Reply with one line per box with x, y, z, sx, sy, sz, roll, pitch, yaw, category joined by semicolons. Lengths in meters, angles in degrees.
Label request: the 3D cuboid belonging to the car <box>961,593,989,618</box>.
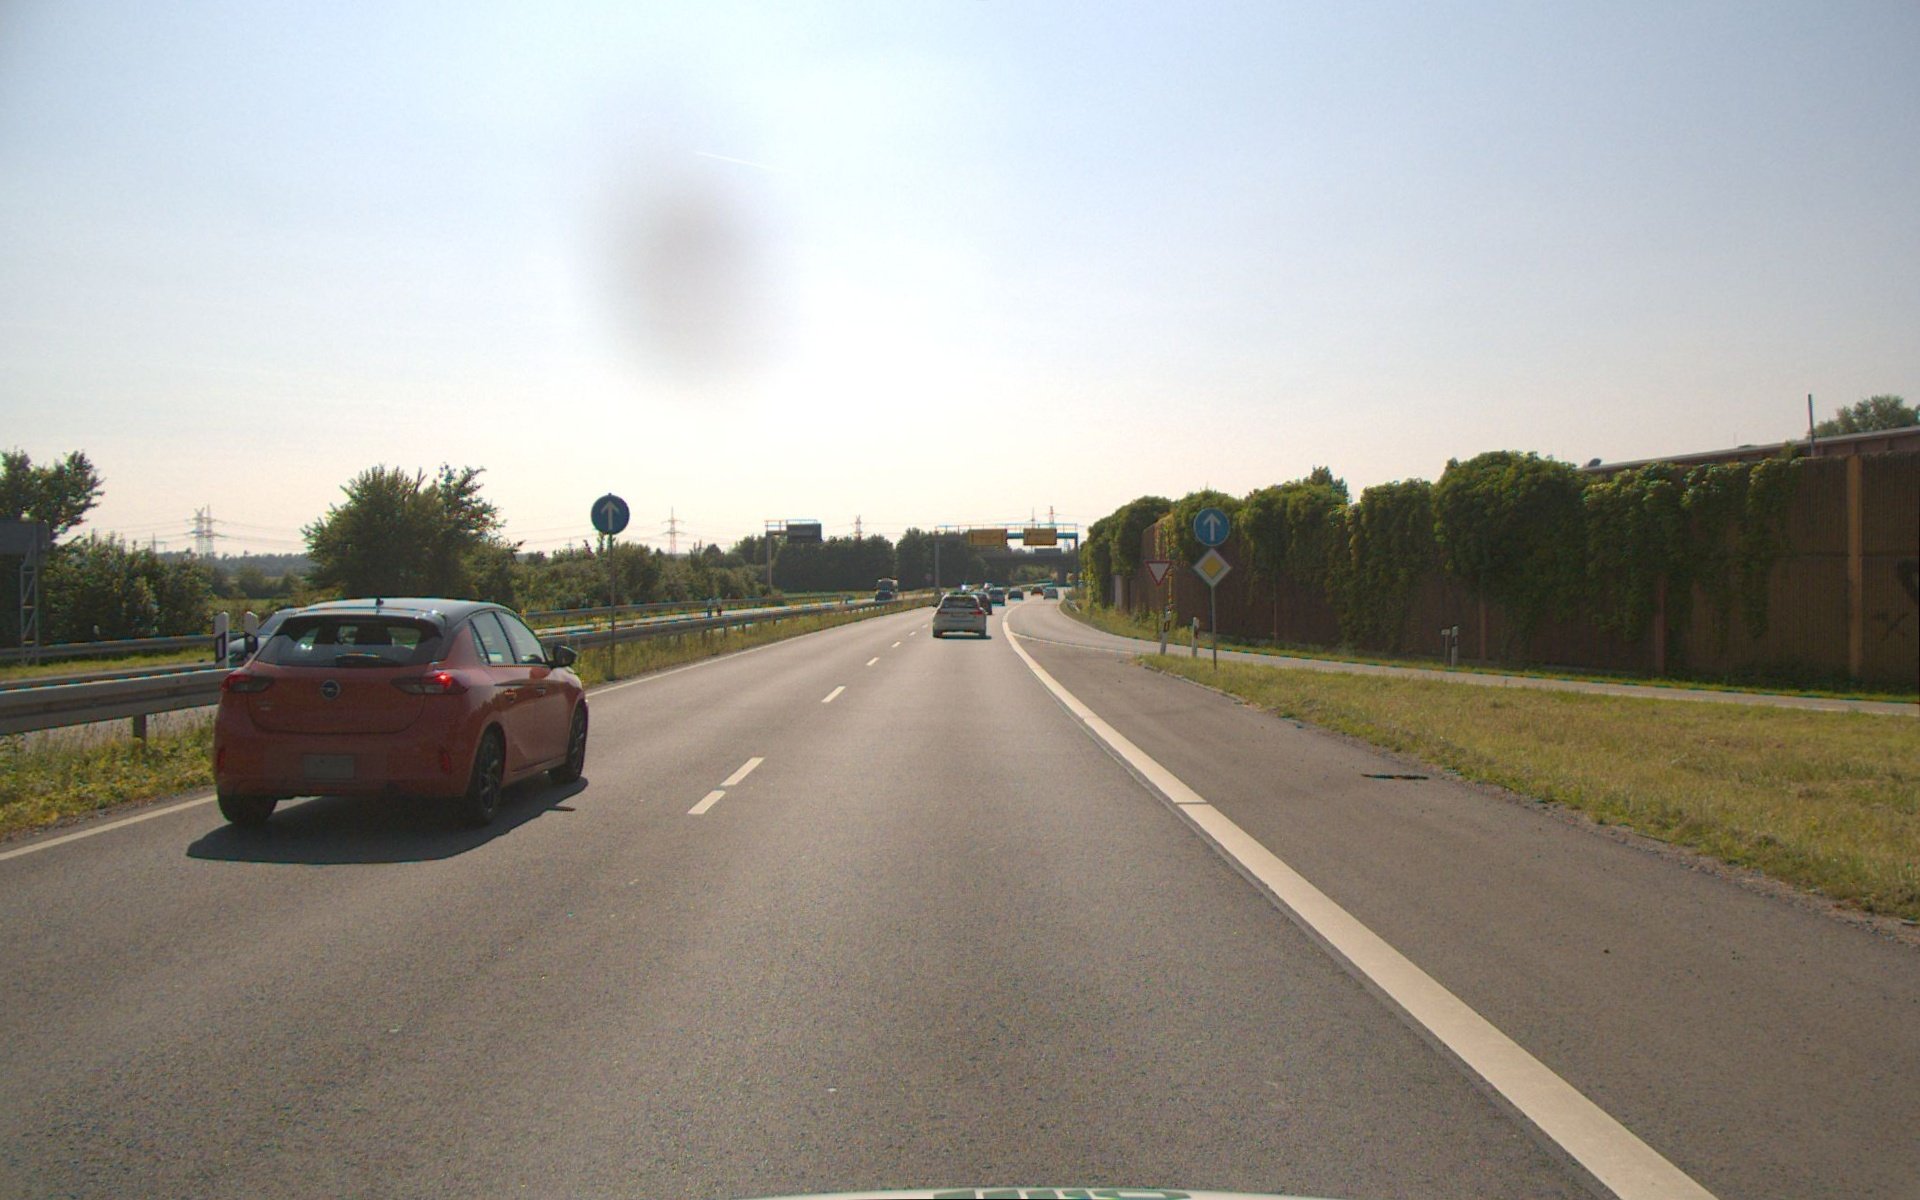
0.974;0.360;106.984;1.756;1.570;3.672;0;0;1;car

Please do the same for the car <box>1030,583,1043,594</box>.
11.646;-1.765;250.813;1.802;1.728;4.002;0;0;4;car

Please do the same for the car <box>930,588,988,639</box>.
-0.043;0.452;57.723;1.918;1.629;4.107;1;1;0;car

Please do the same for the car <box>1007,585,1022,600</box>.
6.646;-0.907;202.990;1.803;1.834;4.001;0;0;2;car

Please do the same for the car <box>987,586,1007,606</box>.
3.497;-0.379;154.523;1.732;1.767;3.633;0;0;4;car

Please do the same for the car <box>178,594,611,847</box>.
-3.801;0.717;11.966;1.674;1.462;4.411;-1;0;-1;car

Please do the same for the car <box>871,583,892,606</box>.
-8.868;-0.658;188.133;2.095;2.585;5.809;0;0;0;car

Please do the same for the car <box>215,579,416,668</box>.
-11.346;0.396;29.488;1.763;1.445;4.675;1;0;-1;car
